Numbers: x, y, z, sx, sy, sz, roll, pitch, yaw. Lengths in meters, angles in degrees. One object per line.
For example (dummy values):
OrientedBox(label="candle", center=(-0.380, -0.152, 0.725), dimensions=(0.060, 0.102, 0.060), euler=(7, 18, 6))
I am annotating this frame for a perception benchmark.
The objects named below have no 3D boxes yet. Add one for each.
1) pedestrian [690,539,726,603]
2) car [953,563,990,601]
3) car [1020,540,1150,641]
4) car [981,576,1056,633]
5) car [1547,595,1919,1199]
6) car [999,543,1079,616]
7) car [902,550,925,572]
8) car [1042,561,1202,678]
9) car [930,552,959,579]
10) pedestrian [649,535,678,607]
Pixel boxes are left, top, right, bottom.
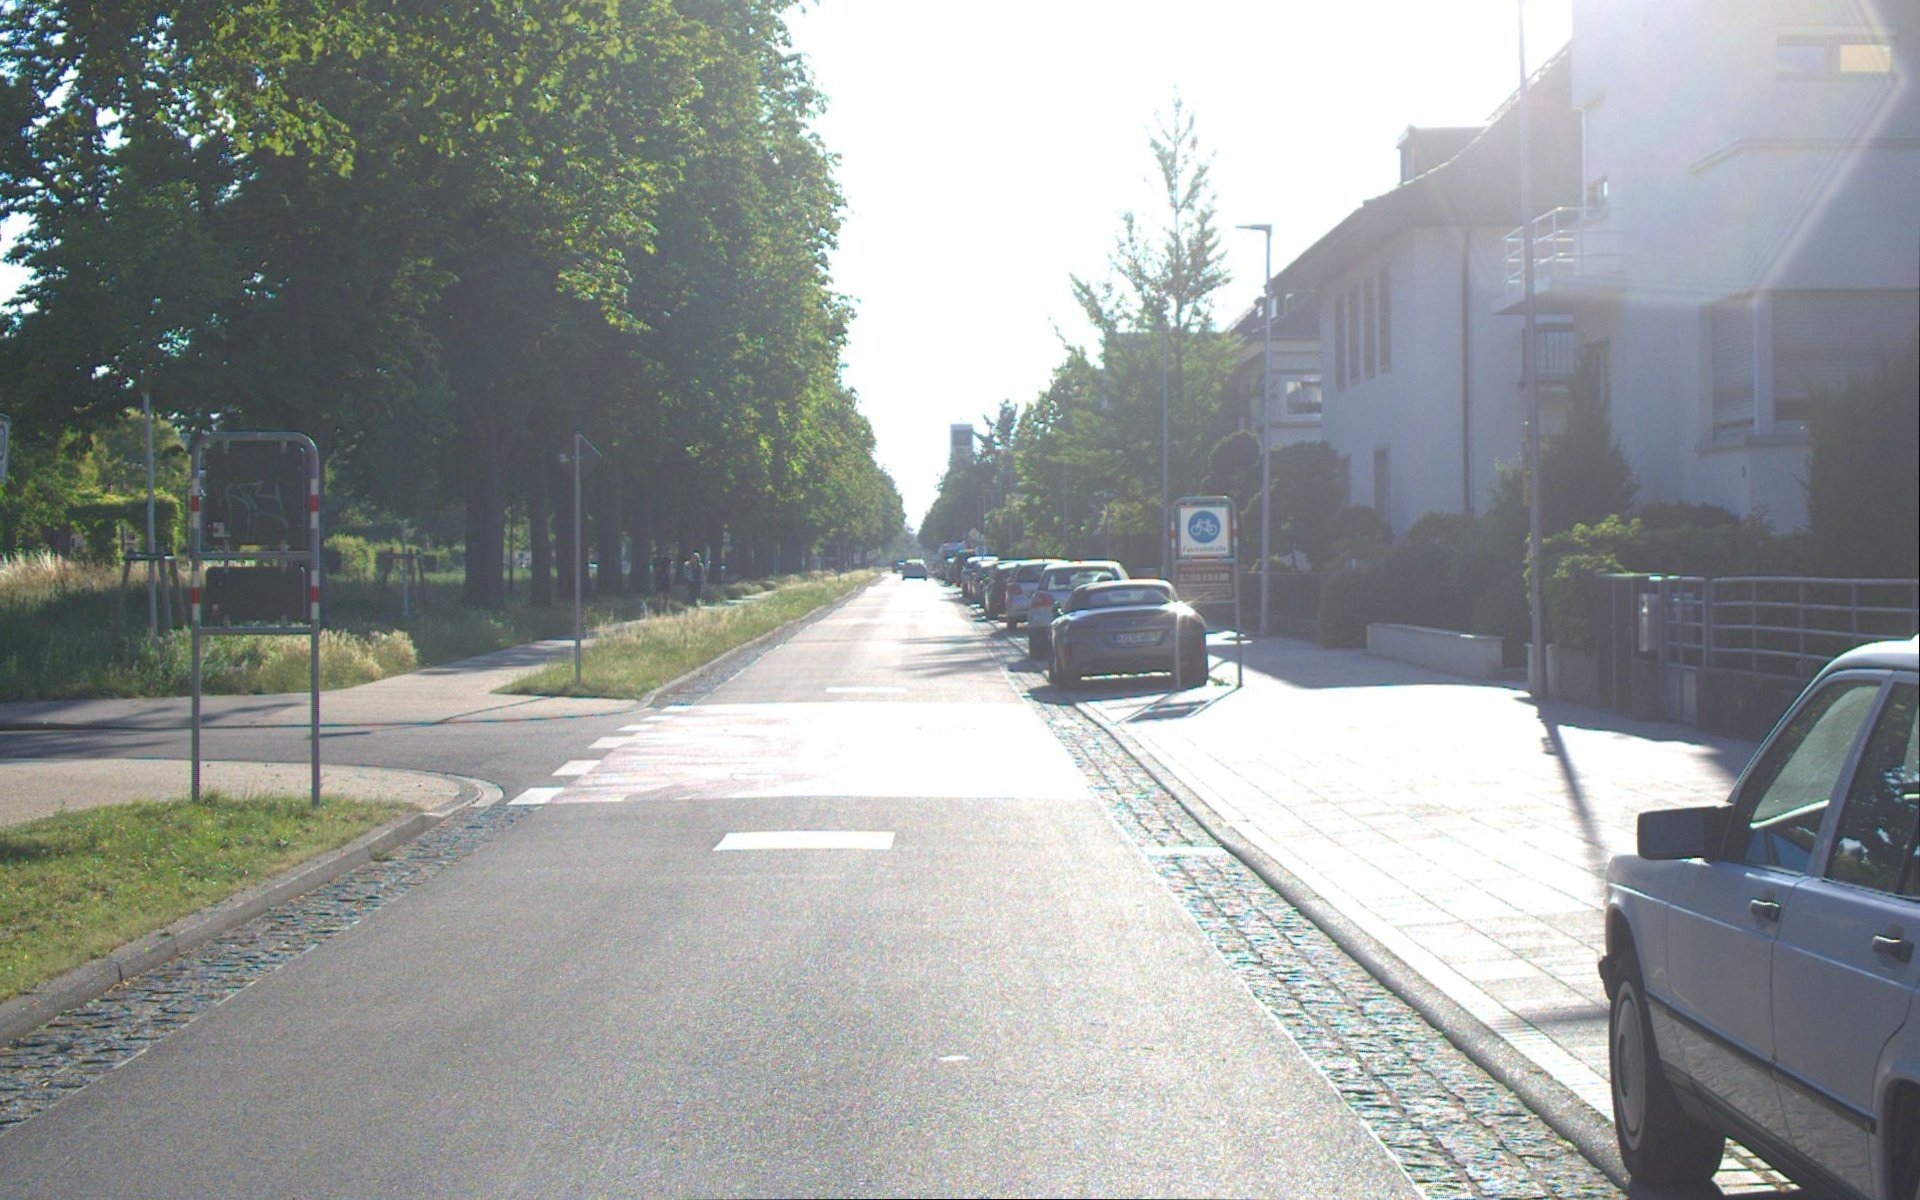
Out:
OrientedBox(label="pedestrian", center=(-6.395, -0.747, 87.249), dimensions=(0.783, 1.609, 0.952), euler=(0, 1, 3))
OrientedBox(label="car", center=(0.484, -0.751, 142.530), dimensions=(1.498, 1.561, 3.266), euler=(0, 1, 0))
OrientedBox(label="car", center=(1.966, -0.174, 55.078), dimensions=(1.744, 1.469, 3.922), euler=(-3, 1, -2))
OrientedBox(label="car", center=(1.536, 0.121, 91.584), dimensions=(1.736, 1.444, 4.197), euler=(-2, 0, -2))
OrientedBox(label="car", center=(2.360, 0.712, 6.902), dimensions=(1.563, 1.385, 4.374), euler=(-1, 1, 0))
OrientedBox(label="car", center=(1.710, -0.469, 74.995), dimensions=(1.627, 1.499, 3.633), euler=(-2, 1, 0))
OrientedBox(label="car", center=(-3.319, -2.804, 246.837), dimensions=(1.652, 1.536, 3.267), euler=(1, 0, -1))
OrientedBox(label="car", center=(2.019, 0.212, 43.852), dimensions=(1.774, 1.284, 4.273), euler=(-3, 1, 0))
OrientedBox(label="car", center=(-0.925, -2.070, 205.151), dimensions=(1.652, 1.536, 3.266), euler=(1, 0, 0))
OrientedBox(label="pedestrian", center=(-7.485, -0.739, 86.869), dimensions=(0.624, 1.824, 0.886), euler=(0, 1, 3))
